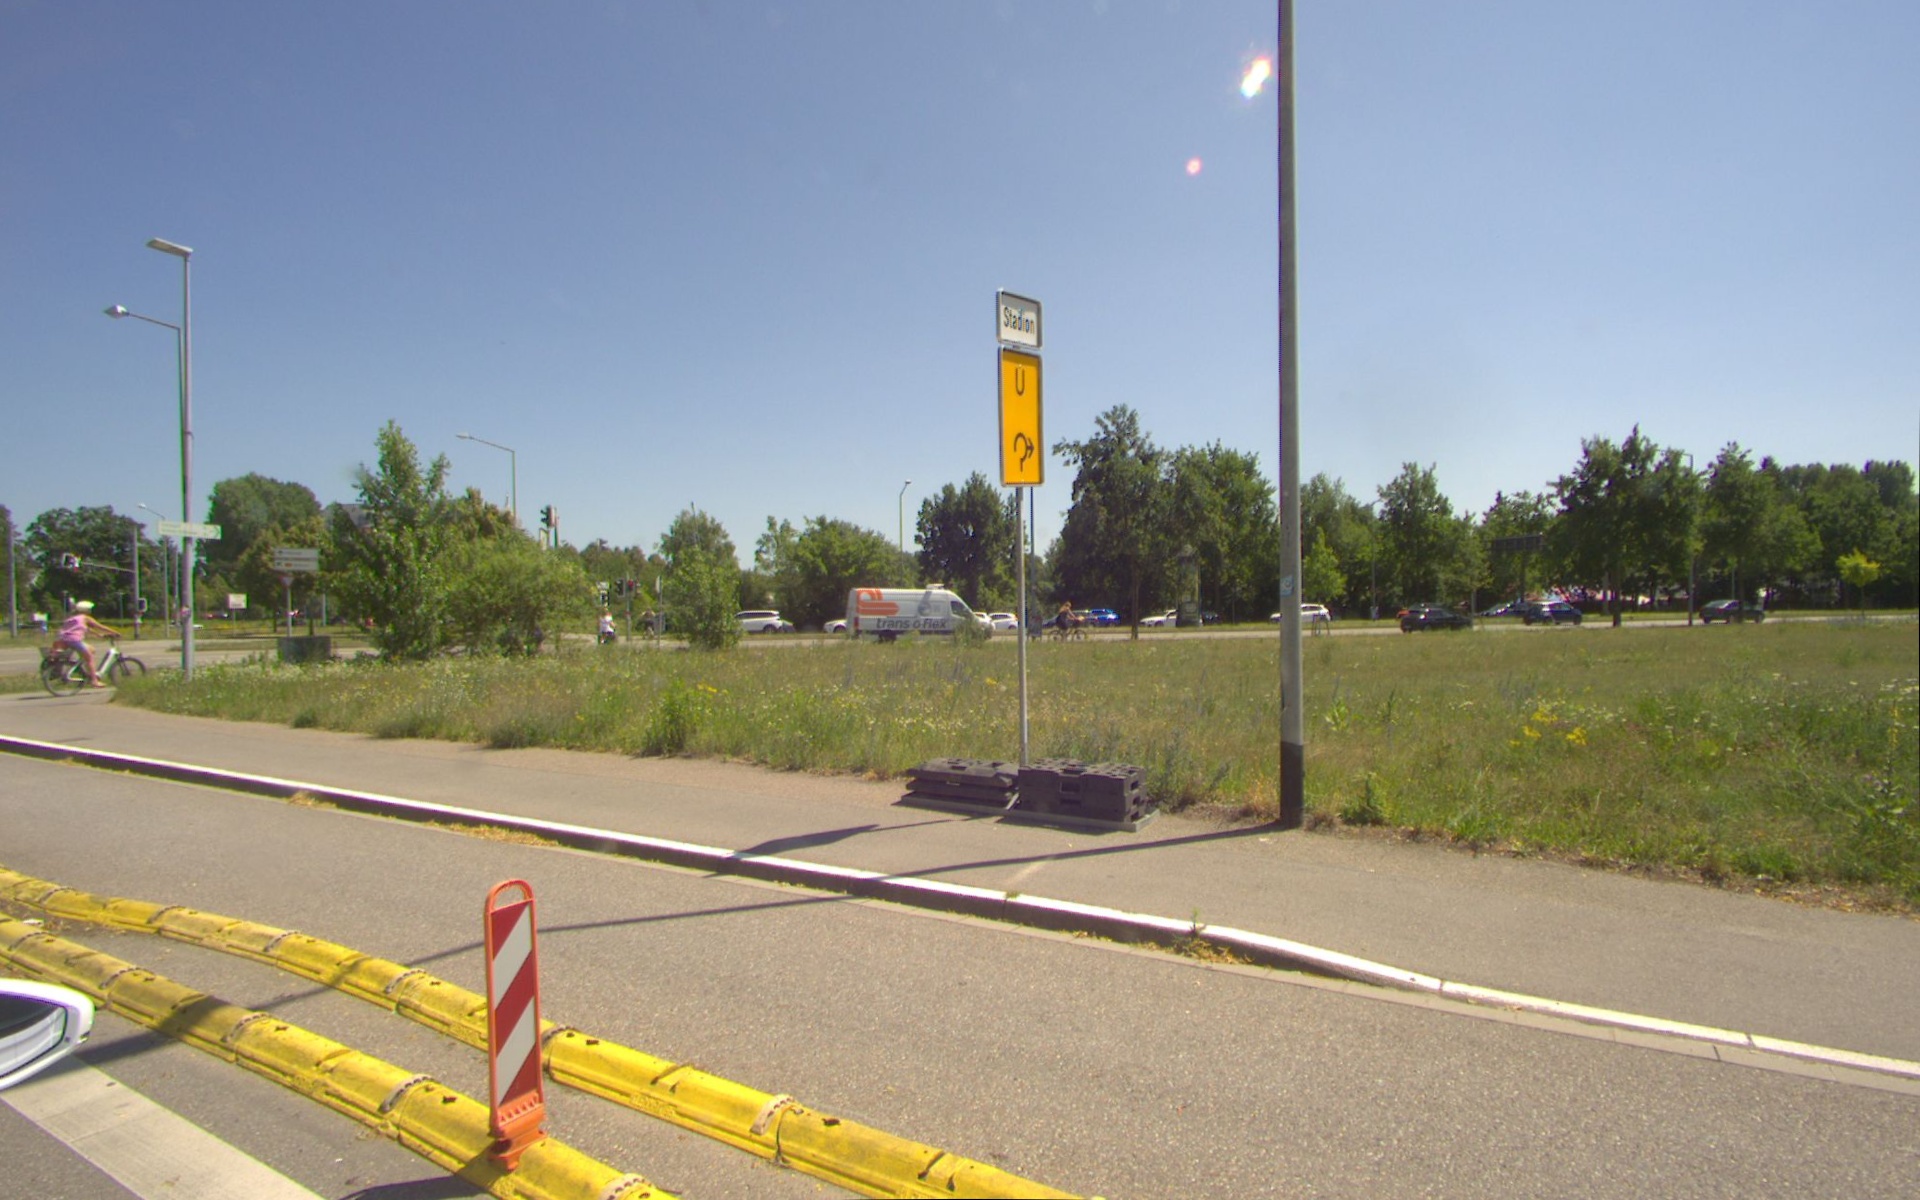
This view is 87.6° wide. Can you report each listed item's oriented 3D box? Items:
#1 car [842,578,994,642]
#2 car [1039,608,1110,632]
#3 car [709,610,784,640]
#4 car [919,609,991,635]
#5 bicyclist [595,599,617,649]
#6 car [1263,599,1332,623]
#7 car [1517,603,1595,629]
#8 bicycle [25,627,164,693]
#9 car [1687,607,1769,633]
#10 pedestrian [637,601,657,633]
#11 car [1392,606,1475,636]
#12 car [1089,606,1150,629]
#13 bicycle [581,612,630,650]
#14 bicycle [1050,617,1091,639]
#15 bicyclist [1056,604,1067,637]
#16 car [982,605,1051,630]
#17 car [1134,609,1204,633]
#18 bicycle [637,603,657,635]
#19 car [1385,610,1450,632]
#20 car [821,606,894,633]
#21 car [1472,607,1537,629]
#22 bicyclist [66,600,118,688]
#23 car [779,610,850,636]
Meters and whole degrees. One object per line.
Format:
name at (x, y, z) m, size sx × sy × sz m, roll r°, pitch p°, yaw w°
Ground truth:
car at (-1.946, 0.500, 46.470) m, size 6.764 × 2.864 × 1.997 m, roll 0°, pitch -1°, yaw -18°
car at (7.614, 1.355, 66.819) m, size 4.365 × 1.612 × 1.846 m, roll 0°, pitch -2°, yaw -16°
car at (-12.926, 1.520, 60.536) m, size 4.365 × 1.758 × 1.846 m, roll 0°, pitch -2°, yaw -16°
car at (-0.335, 1.433, 64.666) m, size 4.365 × 1.612 × 1.846 m, roll 0°, pitch -2°, yaw -16°
bicyclist at (-13.142, 0.897, 37.169) m, size 0.597 × 1.864 × 0.572 m, roll 0°, pitch -1°, yaw 2°
car at (23.965, 0.778, 71.174) m, size 4.366 × 1.612 × 1.846 m, roll 0°, pitch -2°, yaw -17°
car at (38.366, 0.998, 64.499) m, size 4.344 × 1.617 × 1.994 m, roll 0°, pitch 1°, yaw -20°
bicycle at (-17.881, 1.212, 20.735) m, size 0.625 × 1.237 × 2.086 m, roll 0°, pitch 0°, yaw 34°
car at (49.530, 1.258, 64.599) m, size 4.340 × 1.617 × 1.996 m, roll 0°, pitch 1°, yaw -16°
pedestrian at (-16.696, 0.910, 53.429) m, size 0.954 × 1.681 × 0.885 m, roll 0°, pitch -1°, yaw -16°
car at (25.861, 1.151, 54.746) m, size 3.930 × 1.573 × 1.724 m, roll 1°, pitch 1°, yaw -18°
car at (11.320, 1.247, 71.144) m, size 3.927 × 1.558 × 1.764 m, roll 0°, pitch -2°, yaw -14°
bicycle at (-13.143, 1.169, 37.252) m, size 0.628 × 1.370 × 2.896 m, roll 0°, pitch -2°, yaw 4°
bicycle at (4.392, 1.113, 39.893) m, size 1.564 × 0.895 × 0.369 m, roll 0°, pitch -1°, yaw -10°
bicyclist at (4.027, 0.817, 39.842) m, size 0.349 × 1.336 × 0.379 m, roll 0°, pitch -1°, yaw -9°
car at (3.900, 1.197, 69.178) m, size 4.365 × 1.613 × 1.845 m, roll 0°, pitch 0°, yaw -16°
car at (14.346, 1.429, 68.839) m, size 4.365 × 1.612 × 1.846 m, roll 0°, pitch -2°, yaw -16°
bicycle at (-16.740, 1.045, 53.567) m, size 0.967 × 1.617 × 2.879 m, roll 0°, pitch -2°, yaw -16°
car at (34.645, 1.586, 75.890) m, size 4.337 × 1.612 × 1.846 m, roll 0°, pitch -2°, yaw -16°
car at (-6.460, 1.235, 62.928) m, size 4.365 × 1.612 × 1.846 m, roll 0°, pitch -2°, yaw -16°
car at (41.907, 1.389, 77.056) m, size 4.365 × 1.612 × 1.846 m, roll 0°, pitch -2°, yaw -16°
bicyclist at (-17.927, 0.891, 20.683) m, size 0.584 × 1.776 × 0.668 m, roll 1°, pitch 2°, yaw 34°
car at (-9.424, 1.491, 64.776) m, size 4.365 × 1.612 × 1.846 m, roll 0°, pitch -2°, yaw -16°
